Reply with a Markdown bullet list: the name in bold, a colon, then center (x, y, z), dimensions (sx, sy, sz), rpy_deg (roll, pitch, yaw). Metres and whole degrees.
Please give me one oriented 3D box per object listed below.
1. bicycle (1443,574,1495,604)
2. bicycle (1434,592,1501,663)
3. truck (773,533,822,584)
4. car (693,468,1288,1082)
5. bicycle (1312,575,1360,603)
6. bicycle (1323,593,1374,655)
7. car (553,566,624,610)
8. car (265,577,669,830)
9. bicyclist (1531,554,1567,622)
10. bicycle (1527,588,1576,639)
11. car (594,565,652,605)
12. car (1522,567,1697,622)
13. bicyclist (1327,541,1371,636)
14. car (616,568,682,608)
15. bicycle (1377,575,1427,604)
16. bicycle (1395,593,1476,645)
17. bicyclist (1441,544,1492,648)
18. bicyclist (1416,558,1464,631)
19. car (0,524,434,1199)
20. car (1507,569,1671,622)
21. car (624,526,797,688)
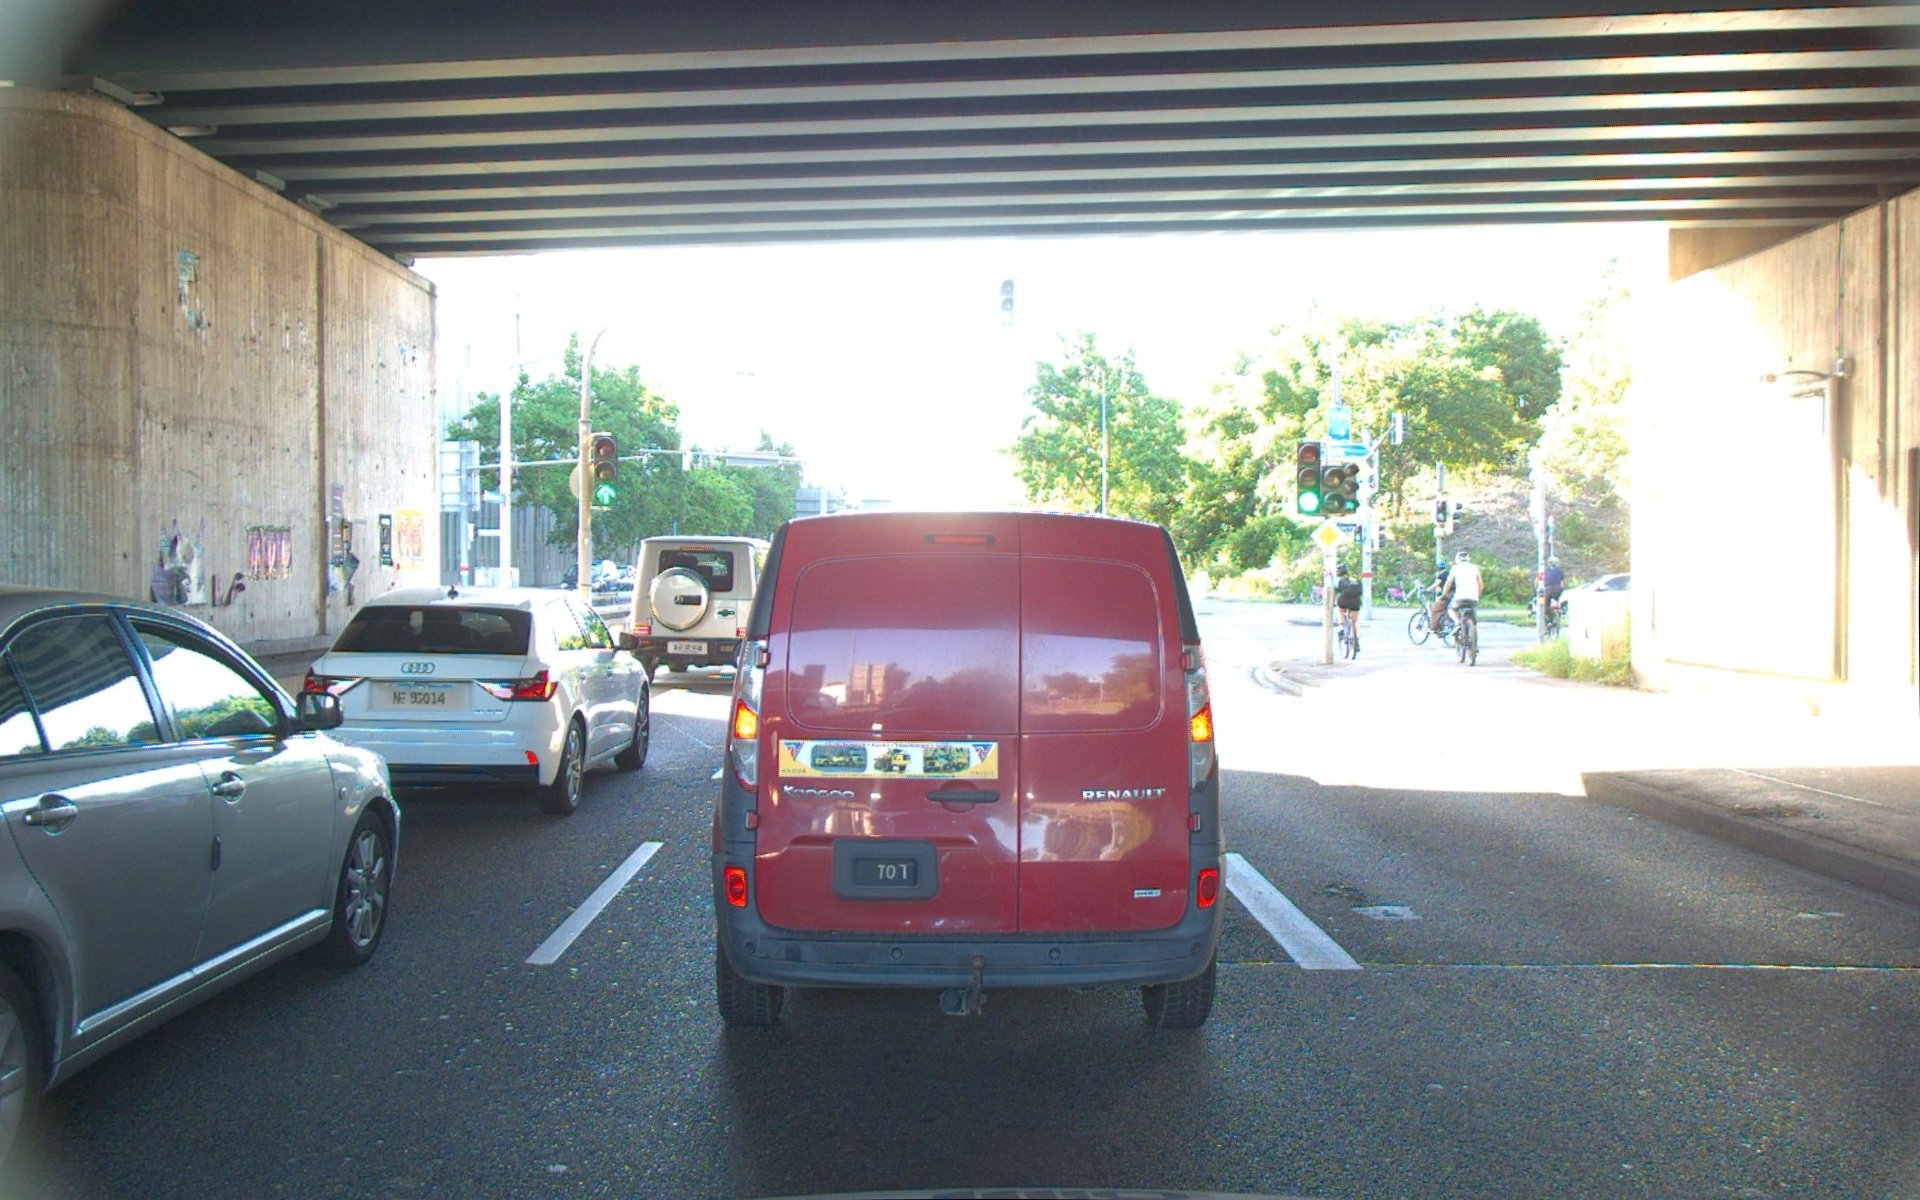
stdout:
- **bicycle**: center (18.508, -0.394, 60.159), dimensions (1.707, 1.041, 0.594), rpy_deg (1, 0, 10)
- **bicycle**: center (7.797, 0.417, 25.478), dimensions (0.579, 1.041, 1.751), rpy_deg (1, 0, 3)
- **truck**: center (-10.318, -2.597, 105.565), dimensions (2.360, 3.079, 6.657), rpy_deg (-2, 1, 0)
- **car**: center (0.067, 0.539, 6.989), dimensions (1.768, 1.826, 3.999), rpy_deg (1, 0, -1)
- **bicycle**: center (14.195, -0.422, 62.505), dimensions (1.707, 1.041, 0.594), rpy_deg (1, 0, 8)
- **bicycle**: center (6.826, 0.415, 29.111), dimensions (0.579, 1.041, 1.751), rpy_deg (1, 0, 3)
- **car**: center (-15.981, -0.545, 71.404), dimensions (1.787, 1.768, 4.631), rpy_deg (-2, 1, 2)
- **car**: center (-3.250, 0.589, 11.672), dimensions (1.776, 1.463, 3.730), rpy_deg (1, 1, -1)
- **bicyclist**: center (13.110, -0.269, 36.826), dimensions (0.635, 1.506, 0.619), rpy_deg (1, 1, 8)
- **bicycle**: center (13.107, 0.281, 36.704), dimensions (0.653, 1.041, 1.752), rpy_deg (0, 3, 7)
- **car**: center (-16.004, -0.742, 78.663), dimensions (1.787, 1.768, 4.529), rpy_deg (-2, 1, -1)
- **car**: center (19.114, -0.154, 48.825), dimensions (4.451, 1.540, 1.829), rpy_deg (1, 0, 6)
- **bicyclist**: center (6.816, -0.199, 29.035), dimensions (0.579, 1.642, 0.943), rpy_deg (1, 0, 3)
- **car**: center (-13.624, -0.541, 72.716), dimensions (1.787, 1.653, 4.531), rpy_deg (-2, 1, 2)
- **bicycle**: center (16.375, -0.389, 61.277), dimensions (1.707, 1.041, 0.594), rpy_deg (1, 0, 8)
- **bicycle**: center (9.948, 0.385, 34.666), dimensions (0.660, 1.041, 2.047), rpy_deg (1, 0, -15)
- **bicyclist**: center (7.795, -0.061, 25.472), dimensions (0.579, 1.575, 0.769), rpy_deg (1, -1, 3)
- **bicyclist**: center (10.002, -0.117, 34.488), dimensions (0.654, 1.500, 0.748), rpy_deg (1, -1, -16)
- **car**: center (-3.009, 0.579, 4.842), dimensions (1.698, 1.506, 4.317), rpy_deg (0, 0, -2)
- **car**: center (19.522, -0.136, 51.508), dimensions (4.451, 1.540, 1.829), rpy_deg (1, 0, 6)
- **car**: center (-3.390, 0.099, 23.273), dimensions (1.764, 2.023, 4.588), rpy_deg (1, 0, -1)
